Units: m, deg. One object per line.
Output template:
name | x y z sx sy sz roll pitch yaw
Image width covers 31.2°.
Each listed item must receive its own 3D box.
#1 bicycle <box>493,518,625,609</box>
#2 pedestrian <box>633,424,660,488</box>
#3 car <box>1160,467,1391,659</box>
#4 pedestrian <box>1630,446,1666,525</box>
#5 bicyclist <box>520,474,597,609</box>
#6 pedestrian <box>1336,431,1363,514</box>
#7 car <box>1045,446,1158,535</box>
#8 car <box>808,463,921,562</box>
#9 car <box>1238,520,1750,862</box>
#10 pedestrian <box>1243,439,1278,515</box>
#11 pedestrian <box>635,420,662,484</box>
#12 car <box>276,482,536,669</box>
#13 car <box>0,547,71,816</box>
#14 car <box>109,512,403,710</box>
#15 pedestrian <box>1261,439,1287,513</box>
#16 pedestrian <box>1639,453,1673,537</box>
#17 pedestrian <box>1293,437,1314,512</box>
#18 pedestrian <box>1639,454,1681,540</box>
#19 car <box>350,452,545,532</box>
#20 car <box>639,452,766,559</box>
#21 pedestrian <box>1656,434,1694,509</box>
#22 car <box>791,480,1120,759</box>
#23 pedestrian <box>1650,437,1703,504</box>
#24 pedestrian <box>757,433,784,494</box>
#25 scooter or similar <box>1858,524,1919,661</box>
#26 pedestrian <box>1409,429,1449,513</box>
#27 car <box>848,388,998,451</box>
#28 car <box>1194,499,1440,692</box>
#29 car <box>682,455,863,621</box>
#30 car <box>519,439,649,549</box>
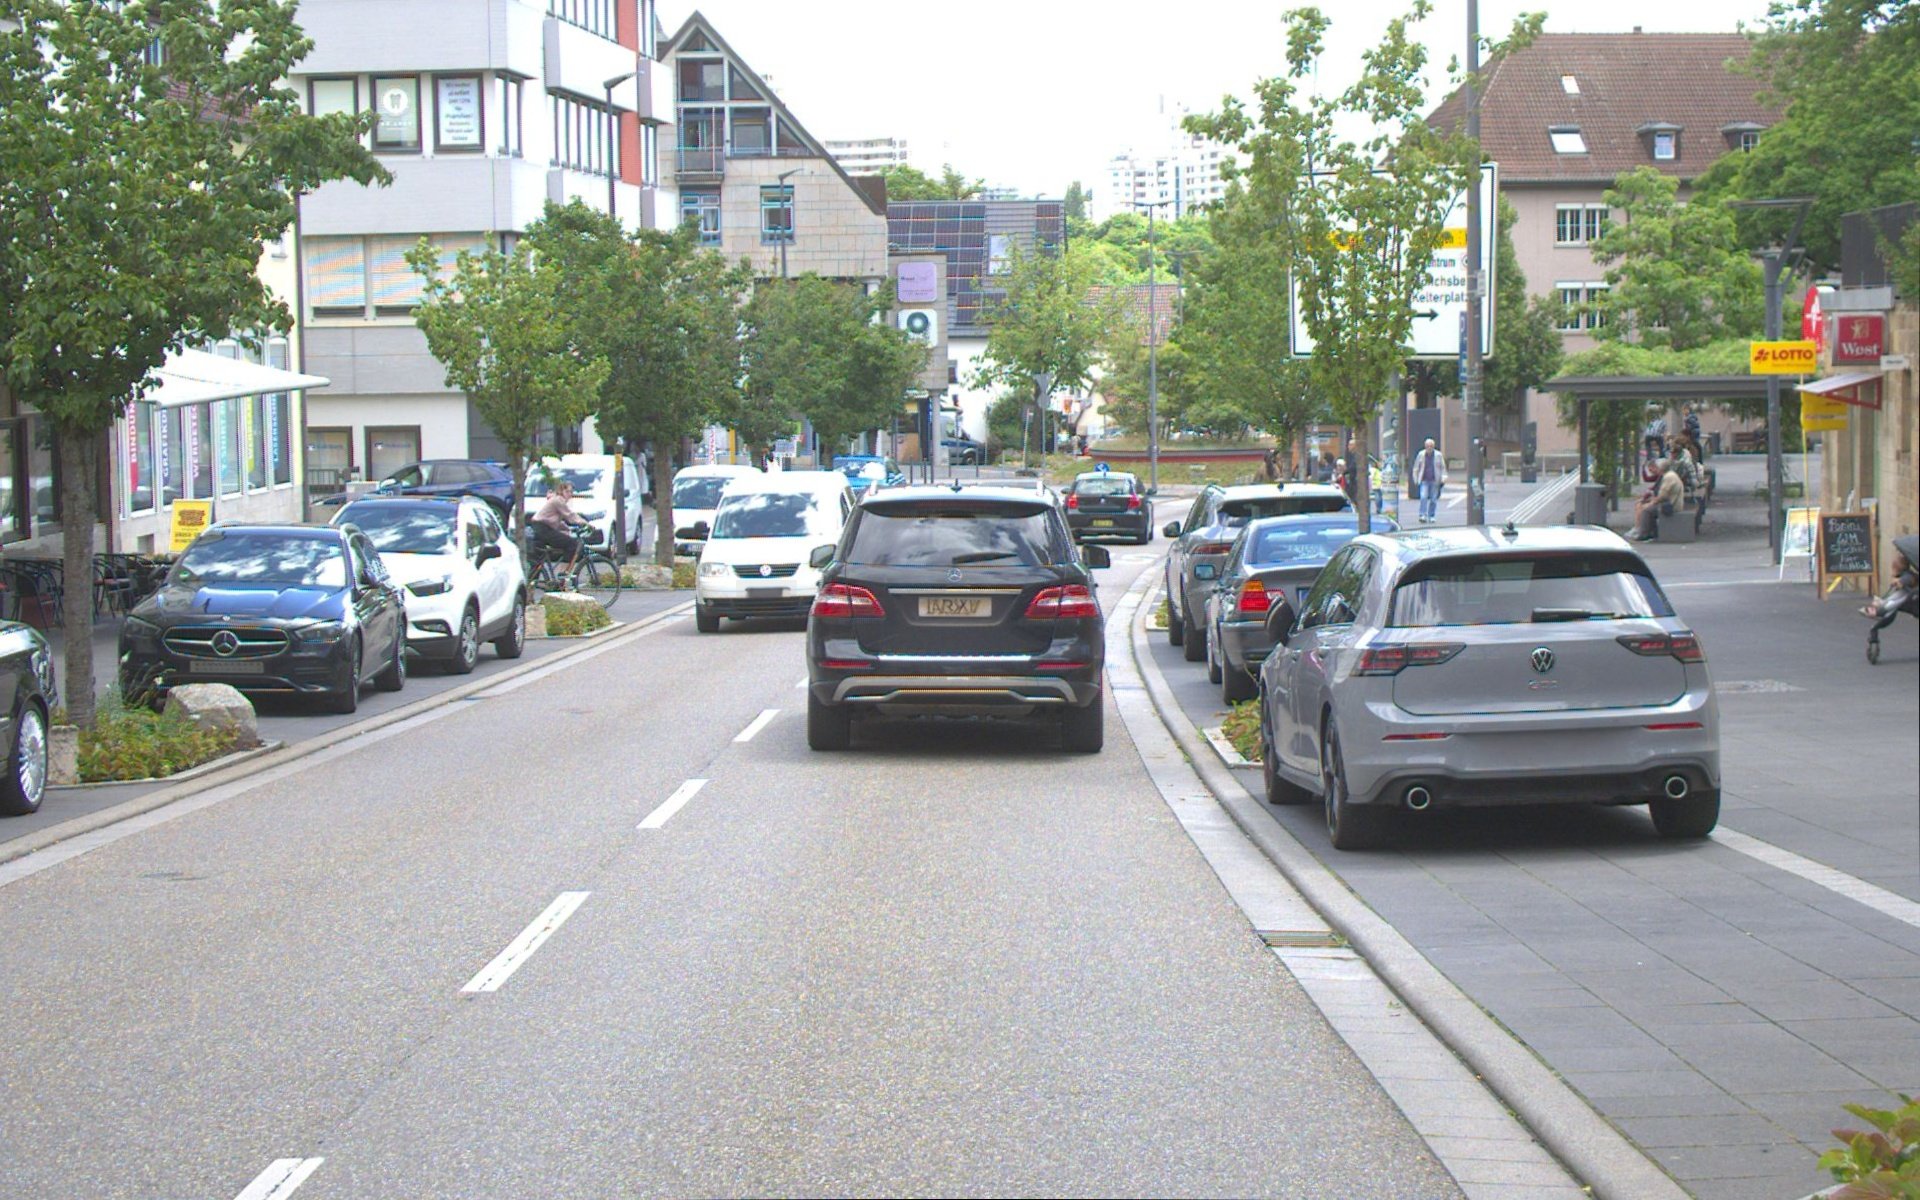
bicycle | -5.161 -0.476 44.264 1.649 1.083 0.413 -4 3 -34
pedestrian | -7.756 -3.570 85.158 0.510 1.561 0.586 -1 3 7
car | 3.044 -0.426 34.009 1.928 1.718 4.574 -1 2 1
pedestrian | 11.387 -1.895 56.915 0.568 1.257 0.541 -1 5 10
bicyclist | -5.167 -0.758 44.252 0.775 1.689 0.510 -4 3 -33
pedestrian | 7.981 -2.615 70.441 0.511 1.674 0.576 -1 3 6
car | 2.796 -2.216 68.856 2.052 1.582 4.374 2 3 0
car | -1.528 -1.454 56.240 1.607 1.383 3.630 -2 4 2
car | 2.480 0.349 16.921 1.754 1.436 4.090 -2 1 -1
pedestrian | 6.160 -2.527 70.484 0.513 1.543 0.486 0 3 32
pedestrian | -7.655 -3.634 84.453 0.584 1.561 0.645 -2 3 -4
car | -5.317 -0.294 33.445 1.666 1.640 4.134 1 3 3
car | -5.847 0.456 17.003 1.657 1.387 4.444 0 1 1
car | -5.706 0.027 28.348 1.839 1.446 4.516 1 2 -5
pedestrian | 6.662 -2.631 73.003 0.500 1.560 0.498 -1 3 4
pedestrian | 11.222 -1.692 55.426 0.495 1.316 0.575 -1 5 9
pedestrian | 7.284 -2.667 72.945 0.393 1.560 0.352 -1 3 7
pedestrian | 11.167 -1.646 54.849 0.616 1.316 0.586 -1 5 9
car | -10.146 -2.154 68.224 3.627 1.553 1.669 0 3 -1
car | -4.291 -1.620 57.814 1.656 1.666 4.351 1 3 2
pedestrian | 12.749 -2.288 61.324 0.624 1.303 0.546 -1 3 10
car | -0.084 0.074 23.537 2.027 1.721 4.434 0 1 -1
pedestrian | 13.602 -2.464 65.279 0.770 1.264 0.675 2 4 35
pedestrian | -5.030 -3.633 91.365 0.587 1.582 0.638 1 3 7
scooter or similar | 7.636 -0.066 27.533 0.812 1.068 0.560 -1 1 12
pedestrian | 9.502 -2.613 69.611 0.685 1.676 0.714 0 3 17
car | -1.635 -7.990 152.738 6.283 2.551 2.207 1 1 -15
car | 2.793 -0.070 27.653 1.681 1.412 4.371 -1 1 2
car | -2.169 -0.767 40.784 1.746 1.796 4.212 -2 2 1
car | -6.588 -1.897 60.568 1.756 1.807 4.477 1 3 0
